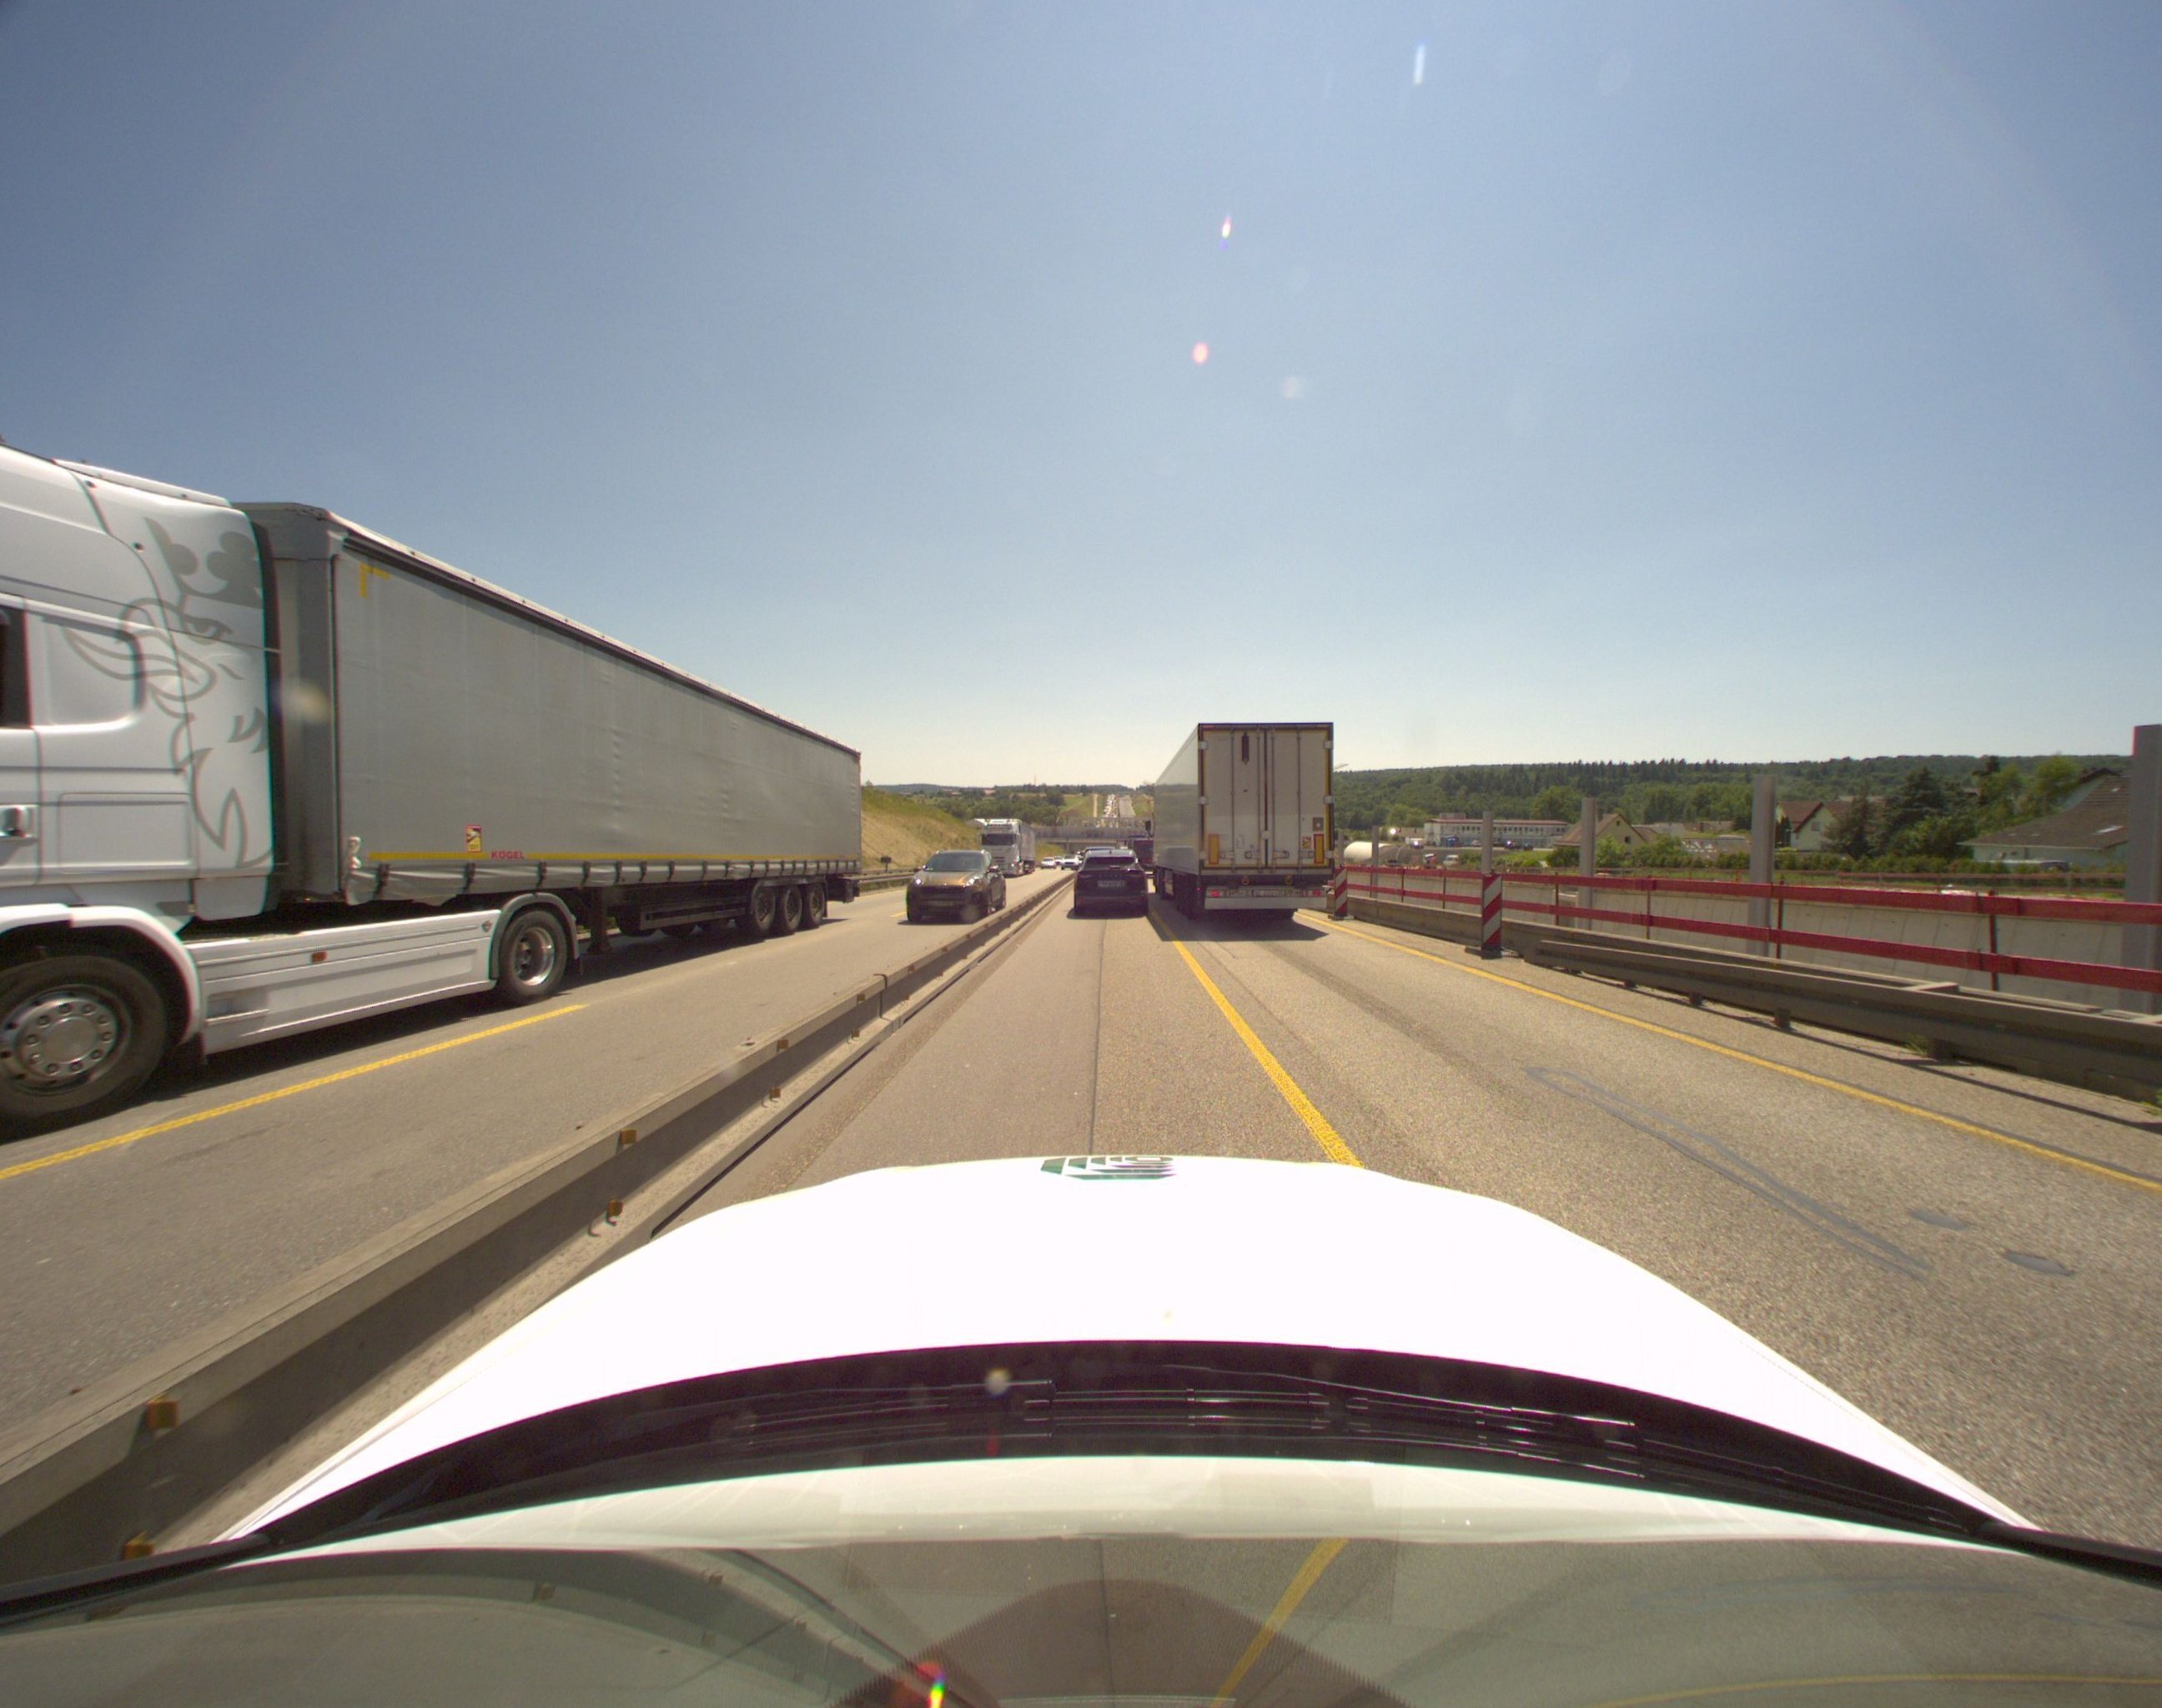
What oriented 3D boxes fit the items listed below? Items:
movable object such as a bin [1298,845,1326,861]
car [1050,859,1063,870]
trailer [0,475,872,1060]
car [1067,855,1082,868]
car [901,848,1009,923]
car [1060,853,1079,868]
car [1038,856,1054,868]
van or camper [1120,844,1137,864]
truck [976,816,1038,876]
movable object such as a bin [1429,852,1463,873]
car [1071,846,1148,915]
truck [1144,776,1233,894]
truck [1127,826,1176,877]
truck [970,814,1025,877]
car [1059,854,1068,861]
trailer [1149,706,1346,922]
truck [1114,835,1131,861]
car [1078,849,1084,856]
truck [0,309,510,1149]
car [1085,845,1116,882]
[{"bbox_3d":[42.511,-0.176,150.468,2.876,2.909,9.485,0,0,3],"label":"movable object such as a bin"},{"bbox_3d":[-3.828,1.639,127.225,1.892,1.584,4.515,0,0,1],"label":"car"},{"bbox_3d":[-6.703,-0.655,12.997,2.800,4.286,14.038,0,0,1],"label":"trailer"},{"bbox_3d":[-0.793,0.977,108.917,1.884,1.708,4.562,0,0,1],"label":"car"},{"bbox_3d":[-2.889,0.672,19.568,1.842,1.586,4.175,0,0,1],"label":"car"},{"bbox_3d":[-1.251,0.701,88.856,1.805,1.638,4.365,-1,0,2],"label":"car"},{"bbox_3d":[-4.192,0.934,97.799,1.695,1.378,3.967,0,0,1],"label":"car"},{"bbox_3d":[5.664,0.002,97.290,1.986,2.244,4.002,1,0,2],"label":"van or camper"},{"bbox_3d":[-5.569,-0.571,64.324,3.231,4.160,13.982,-1,0,1],"label":"truck"},{"bbox_3d":[40.104,0.920,89.544,1.985,2.239,4.154,0,0,2],"label":"movable object such as a bin"},{"bbox_3d":[0.725,0.613,20.686,1.793,1.620,3.299,0,0,2],"label":"car"},{"bbox_3d":[3.917,-0.635,30.714,2.767,4.058,4.905,-1,-1,1],"label":"truck"},{"bbox_3d":[4.761,-0.113,56.997,2.803,3.135,12.845,-1,0,2],"label":"truck"},{"bbox_3d":[-5.759,-0.556,56.897,3.227,4.160,4.248,-1,0,1],"label":"truck"},{"bbox_3d":[-3.320,0.656,152.546,1.642,1.415,3.998,-1,0,-1],"label":"car"},{"bbox_3d":[3.732,-0.694,22.450,2.791,4.058,14.119,-1,-1,1],"label":"trailer"},{"bbox_3d":[6.619,-0.985,131.232,2.509,3.959,7.601,1,0,1],"label":"truck"},{"bbox_3d":[0.068,-0.439,235.649,1.726,1.794,3.581,0,0,1],"label":"car"},{"bbox_3d":[-6.866,-0.638,5.409,2.764,4.286,4.677,0,0,1],"label":"truck"},{"bbox_3d":[1.018,0.464,41.462,1.469,1.795,3.300,-1,0,3],"label":"car"}]
